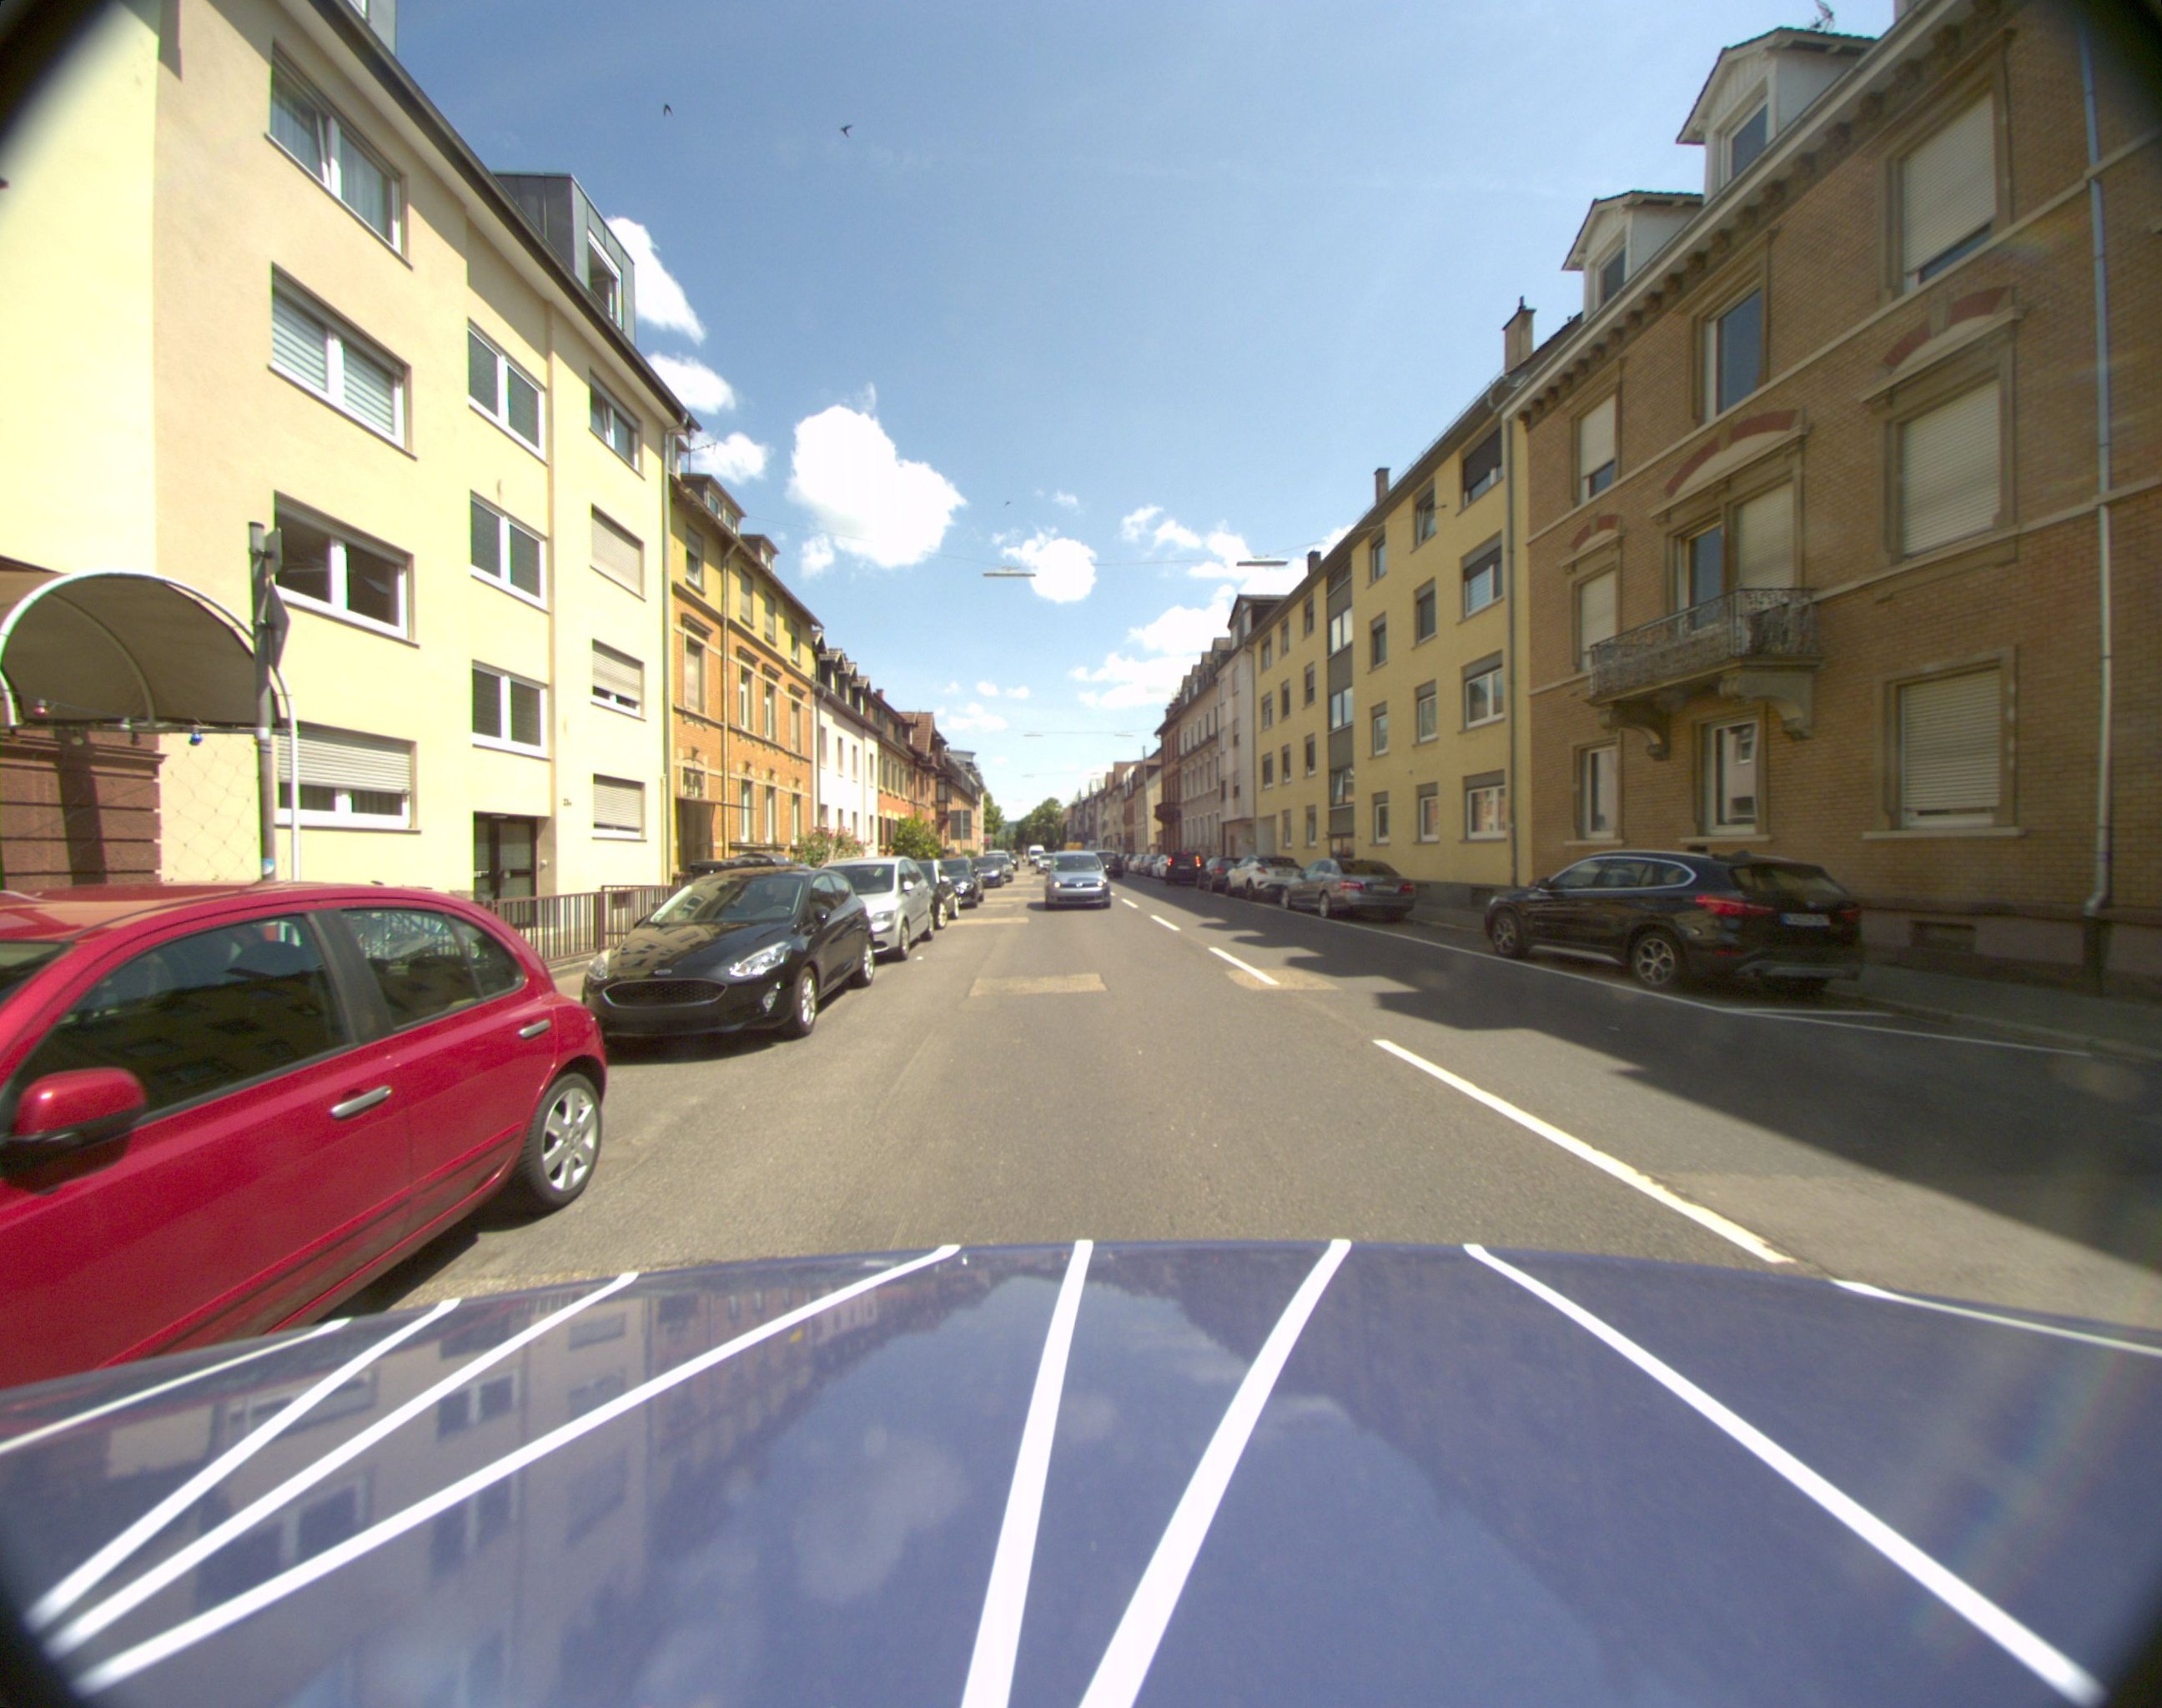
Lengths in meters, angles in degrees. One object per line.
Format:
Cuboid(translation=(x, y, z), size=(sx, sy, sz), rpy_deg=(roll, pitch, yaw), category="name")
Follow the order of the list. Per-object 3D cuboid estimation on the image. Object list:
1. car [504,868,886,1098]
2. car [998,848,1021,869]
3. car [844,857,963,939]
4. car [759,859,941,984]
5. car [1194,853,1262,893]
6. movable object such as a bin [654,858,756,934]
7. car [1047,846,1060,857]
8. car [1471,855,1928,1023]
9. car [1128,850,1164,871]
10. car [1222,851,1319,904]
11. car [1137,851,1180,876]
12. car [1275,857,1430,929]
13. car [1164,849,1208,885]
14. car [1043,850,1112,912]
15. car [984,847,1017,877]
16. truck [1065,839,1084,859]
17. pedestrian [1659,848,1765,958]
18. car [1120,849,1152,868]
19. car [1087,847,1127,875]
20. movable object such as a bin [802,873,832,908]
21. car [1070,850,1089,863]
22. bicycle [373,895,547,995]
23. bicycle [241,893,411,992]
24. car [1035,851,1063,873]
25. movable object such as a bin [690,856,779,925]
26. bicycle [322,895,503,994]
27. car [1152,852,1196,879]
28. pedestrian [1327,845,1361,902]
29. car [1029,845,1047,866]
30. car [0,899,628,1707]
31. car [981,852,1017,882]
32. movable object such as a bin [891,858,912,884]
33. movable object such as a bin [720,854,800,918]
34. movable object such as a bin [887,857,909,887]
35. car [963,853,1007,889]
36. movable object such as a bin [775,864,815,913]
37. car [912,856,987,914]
Cuboid(translation=(-3.290, 0.966, 7.467), size=(1.762, 1.470, 3.930), rpy_deg=(-3, 1, -2), category="car")
Cuboid(translation=(-5.945, 0.319, 63.840), size=(1.709, 1.618, 3.929), rpy_deg=(-3, 1, -3), category="car")
Cuboid(translation=(-3.765, 0.868, 16.808), size=(1.762, 1.470, 3.930), rpy_deg=(-3, 1, -2), category="car")
Cuboid(translation=(-3.514, 0.932, 12.374), size=(1.762, 1.542, 4.064), rpy_deg=(-3, 1, -2), category="car")
Cuboid(translation=(5.788, 0.711, 30.393), size=(1.749, 1.403, 3.913), rpy_deg=(3, 0, -2), category="car")
Cuboid(translation=(-7.239, 0.779, 14.732), size=(1.285, 1.388, 1.412), rpy_deg=(0, 1, -2), category="movable object such as a bin")
Cuboid(translation=(-3.883, -0.376, 107.799), size=(1.810, 1.522, 3.998), rpy_deg=(1, 0, -3), category="car")
Cuboid(translation=(7.235, 0.844, 9.686), size=(1.870, 1.542, 4.498), rpy_deg=(3, 0, -4), category="car")
Cuboid(translation=(4.639, 0.435, 54.953), size=(1.750, 1.403, 4.101), rpy_deg=(3, 0, -6), category="car")
Cuboid(translation=(6.185, 0.710, 25.376), size=(1.870, 1.542, 4.312), rpy_deg=(3, 0, -3), category="car")
Cuboid(translation=(4.897, 0.573, 48.610), size=(1.750, 1.403, 4.510), rpy_deg=(3, 0, -6), category="car")
Cuboid(translation=(6.527, 0.860, 18.907), size=(1.910, 1.443, 4.684), rpy_deg=(3, 0, -3), category="car")
Cuboid(translation=(5.155, 0.600, 36.889), size=(1.747, 1.579, 3.957), rpy_deg=(3, 0, 13), category="car")
Cuboid(translation=(-0.178, 0.695, 21.655), size=(1.759, 1.559, 3.999), rpy_deg=(-1, 0, -3), category="car")
Cuboid(translation=(-4.931, 0.479, 46.951), size=(1.709, 1.700, 3.929), rpy_deg=(-3, 1, -3), category="car")
Cuboid(translation=(-0.971, -0.718, 110.459), size=(2.324, 2.725, 8.064), rpy_deg=(0, 0, -4), category="truck")
Cuboid(translation=(9.091, 0.684, 10.986), size=(0.804, 1.526, 0.876), rpy_deg=(0, 1, 2), category="pedestrian")
Cuboid(translation=(4.362, 0.346, 60.561), size=(1.750, 1.403, 4.101), rpy_deg=(3, 0, -6), category="car")
Cuboid(translation=(1.493, 0.372, 45.676), size=(1.913, 1.601, 4.444), rpy_deg=(0, 0, -4), category="car")
Cuboid(translation=(-7.093, 0.971, 20.419), size=(0.626, 0.923, 0.612), rpy_deg=(0, 1, -4), category="movable object such as a bin")
Cuboid(translation=(-0.202, 0.251, 83.341), size=(1.810, 1.425, 3.998), rpy_deg=(1, 0, -3), category="car")
Cuboid(translation=(-7.274, 1.032, 9.015), size=(0.552, 0.977, 1.630), rpy_deg=(-1, 0, 8), category="bicycle")
Cuboid(translation=(-8.973, 1.010, 9.129), size=(0.552, 0.977, 1.628), rpy_deg=(-1, 0, -7), category="bicycle")
Cuboid(translation=(-2.294, 0.531, 54.569), size=(1.905, 1.489, 4.486), rpy_deg=(-1, 1, -2), category="car")
Cuboid(translation=(-7.324, 0.744, 16.145), size=(1.285, 1.388, 1.364), rpy_deg=(0, 1, -2), category="movable object such as a bin")
Cuboid(translation=(-7.886, 1.029, 9.064), size=(0.552, 0.977, 1.630), rpy_deg=(-1, 0, 8), category="bicycle")
Cuboid(translation=(5.223, 0.614, 43.208), size=(1.749, 1.403, 4.283), rpy_deg=(3, 0, -2), category="car")
Cuboid(translation=(8.162, 0.599, 23.586), size=(0.804, 1.746, 0.876), rpy_deg=(0, 1, 5), category="pedestrian")
Cuboid(translation=(-4.772, 0.167, 84.431), size=(1.905, 2.261, 5.669), rpy_deg=(-1, 1, -4), category="car")
Cuboid(translation=(-3.044, 1.014, 1.907), size=(1.763, 1.470, 3.781), rpy_deg=(-3, 1, -6), category="car")
Cuboid(translation=(-4.420, 0.681, 41.375), size=(1.709, 1.470, 3.929), rpy_deg=(-3, 1, -3), category="car")
Cuboid(translation=(-7.745, 0.737, 32.830), size=(0.753, 1.091, 0.877), rpy_deg=(0, 1, -4), category="movable object such as a bin")
Cuboid(translation=(-7.360, 0.709, 17.514), size=(1.285, 1.402, 1.304), rpy_deg=(0, 1, -2), category="movable object such as a bin")
Cuboid(translation=(-7.690, 0.753, 31.989), size=(0.753, 1.235, 0.877), rpy_deg=(0, 1, -4), category="movable object such as a bin")
Cuboid(translation=(-4.406, 0.740, 35.329), size=(1.709, 1.470, 3.929), rpy_deg=(-3, 1, -3), category="car")
Cuboid(translation=(-7.112, 0.854, 18.914), size=(0.723, 1.181, 0.747), rpy_deg=(0, 1, -4), category="movable object such as a bin")
Cuboid(translation=(-3.892, 0.864, 23.172), size=(1.762, 1.470, 4.417), rpy_deg=(-3, 1, -4), category="car")
